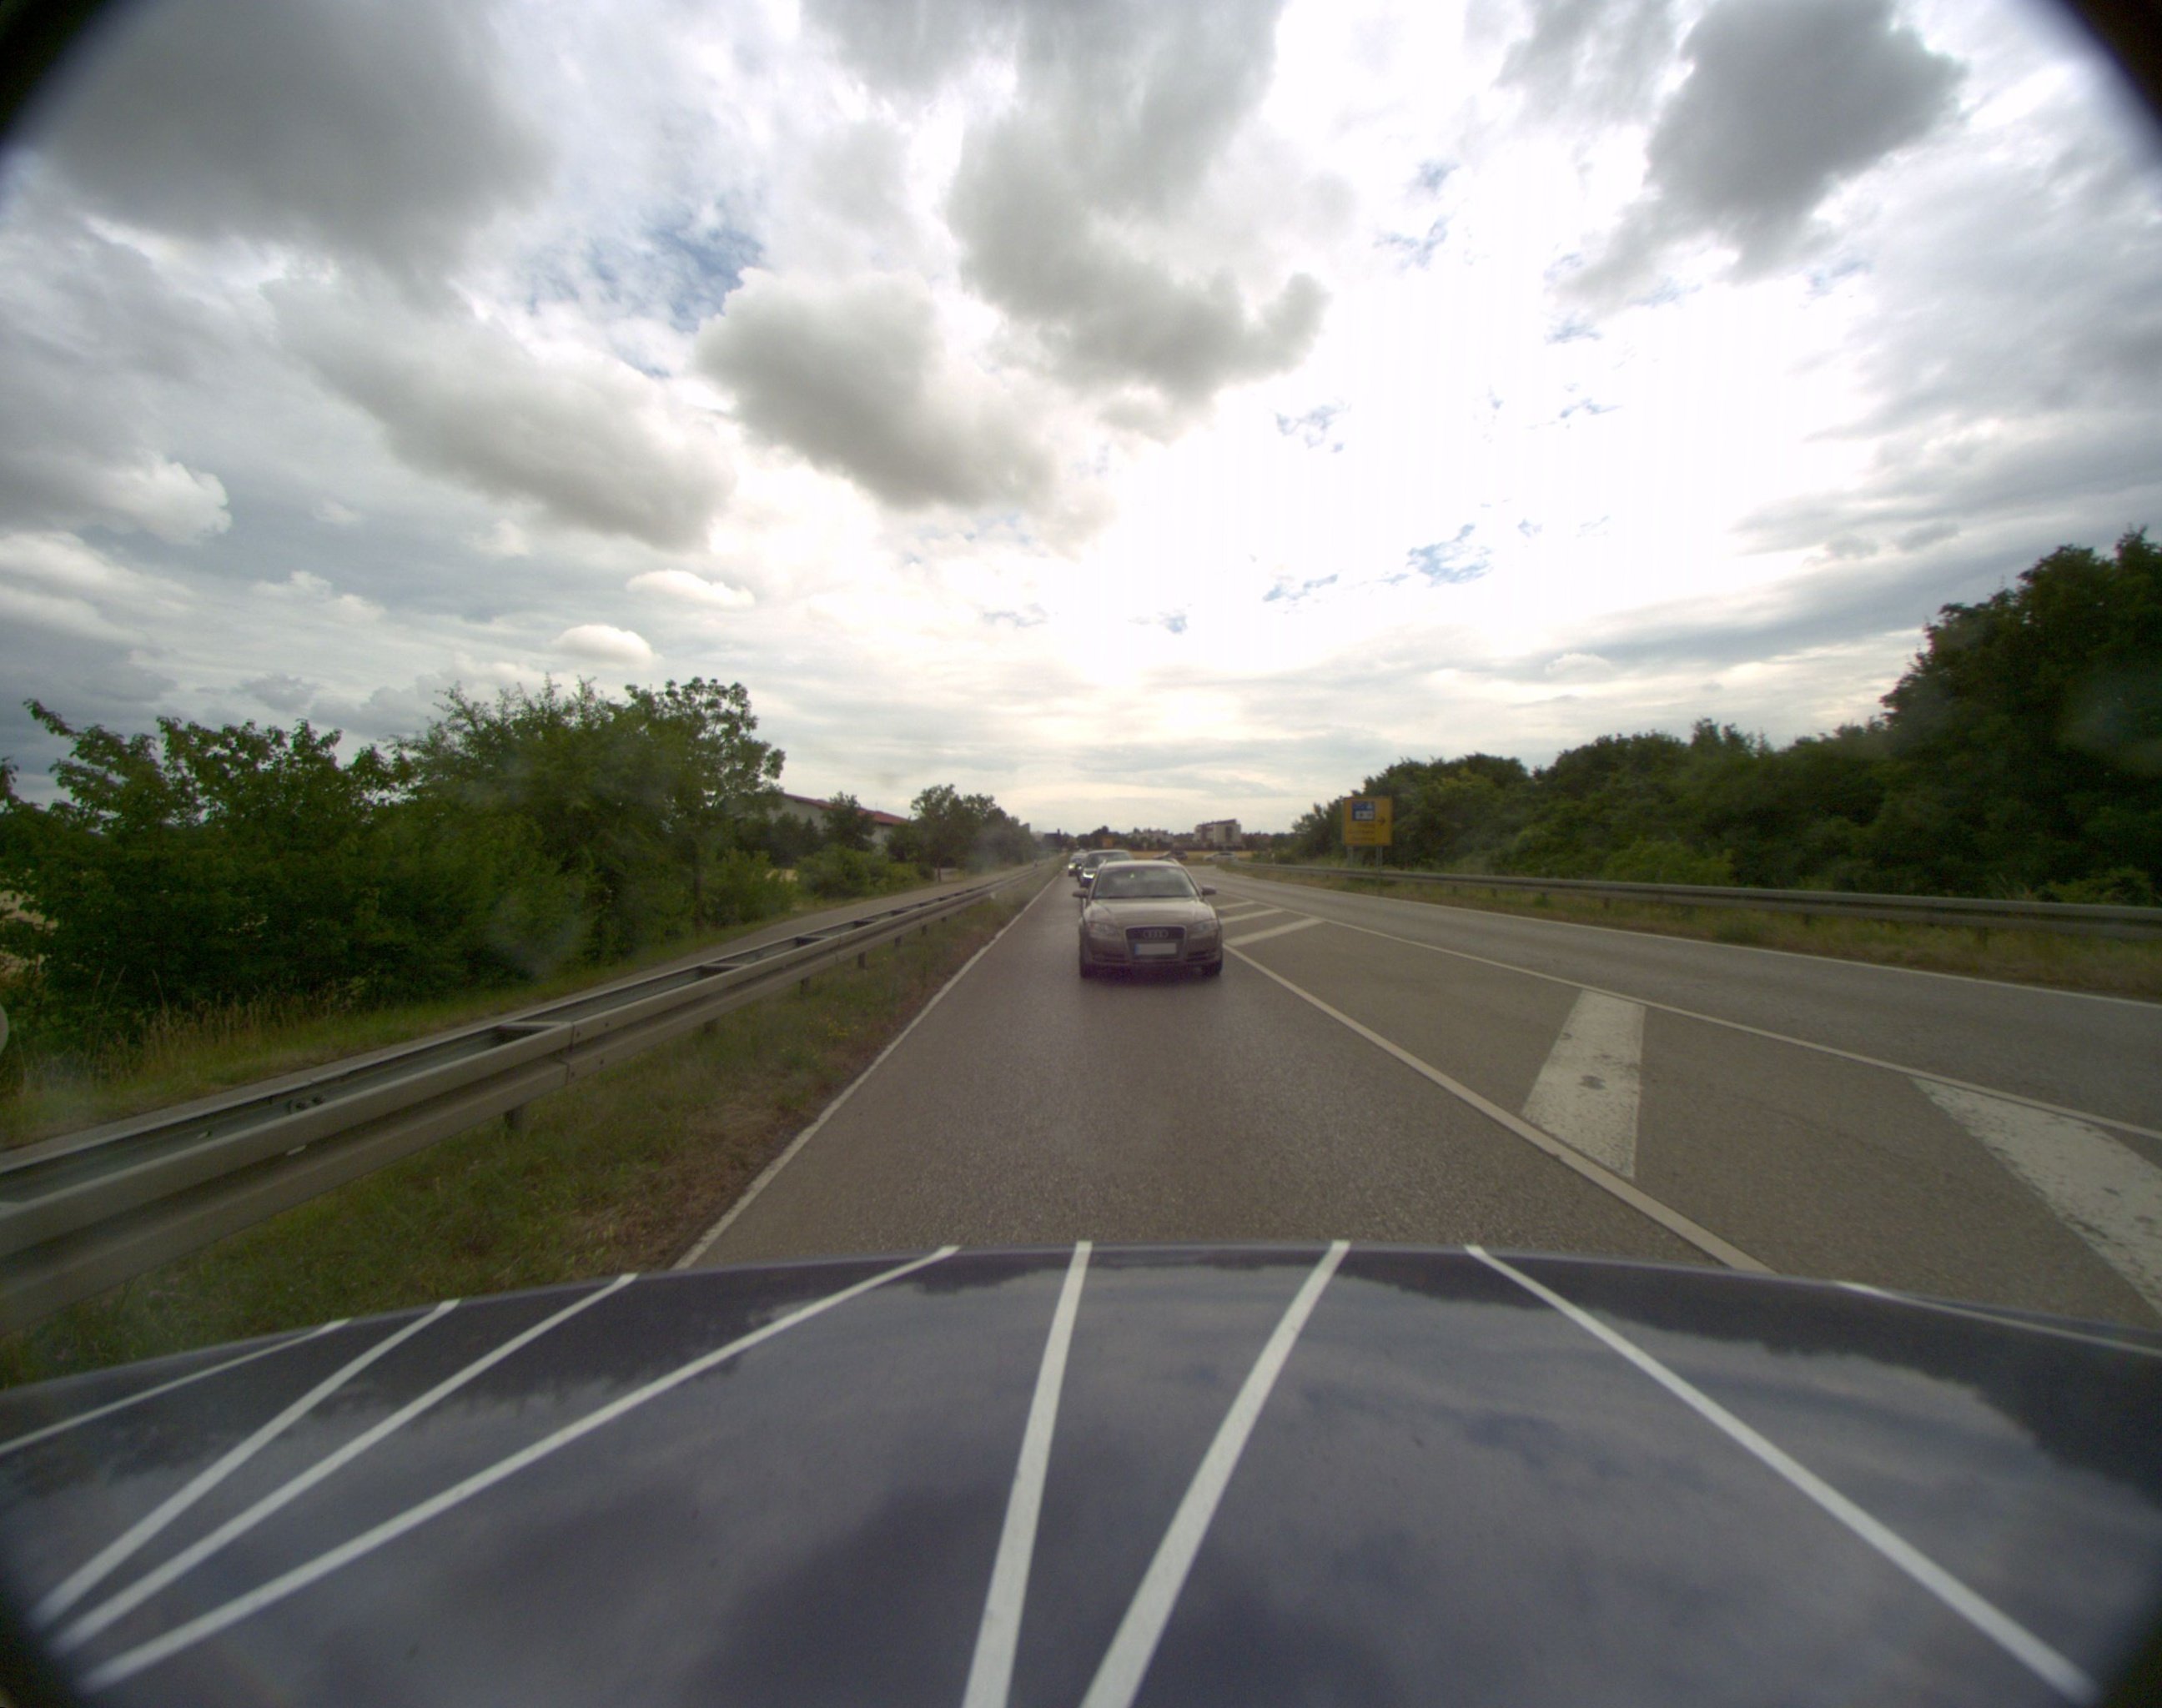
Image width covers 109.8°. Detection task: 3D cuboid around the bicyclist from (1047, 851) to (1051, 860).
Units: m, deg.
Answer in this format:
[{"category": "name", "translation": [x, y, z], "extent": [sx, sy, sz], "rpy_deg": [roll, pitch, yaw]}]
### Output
[{"category": "bicyclist", "translation": [-6.121, 0.266, 145.339], "extent": [0.640, 1.573, 0.969], "rpy_deg": [-1, 1, 0]}]

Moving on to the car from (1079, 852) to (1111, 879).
[{"category": "car", "translation": [0.796, 0.677, 45.487], "extent": [1.730, 1.478, 4.203], "rpy_deg": [-2, 0, 0]}]

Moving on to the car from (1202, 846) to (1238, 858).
[{"category": "car", "translation": [18.606, -0.266, 101.857], "extent": [4.672, 1.490, 2.001], "rpy_deg": [-1, 1, 9]}]

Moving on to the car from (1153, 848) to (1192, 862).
[{"category": "car", "translation": [12.260, 0.125, 101.793], "extent": [4.816, 1.680, 1.999], "rpy_deg": [-1, 1, -3]}]

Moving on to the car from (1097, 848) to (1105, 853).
[{"category": "car", "translation": [5.534, -1.027, 210.626], "extent": [1.804, 1.442, 4.445], "rpy_deg": [-1, 1, -1]}]

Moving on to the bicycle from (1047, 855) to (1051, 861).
[{"category": "bicycle", "translation": [-6.115, 0.783, 145.368], "extent": [0.640, 0.972, 2.072], "rpy_deg": [-1, 1, 0]}]

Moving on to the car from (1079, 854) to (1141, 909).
[{"category": "car", "translation": [0.840, 0.799, 24.129], "extent": [1.730, 1.534, 4.203], "rpy_deg": [-2, 0, 0]}]

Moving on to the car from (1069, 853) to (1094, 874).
[{"category": "car", "translation": [0.033, 0.705, 57.166], "extent": [1.730, 1.436, 4.203], "rpy_deg": [-2, 0, 0]}]

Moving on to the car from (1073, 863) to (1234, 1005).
[{"category": "car", "translation": [0.783, 0.897, 10.356], "extent": [1.730, 1.436, 4.203], "rpy_deg": [-1, 0, 0]}]
